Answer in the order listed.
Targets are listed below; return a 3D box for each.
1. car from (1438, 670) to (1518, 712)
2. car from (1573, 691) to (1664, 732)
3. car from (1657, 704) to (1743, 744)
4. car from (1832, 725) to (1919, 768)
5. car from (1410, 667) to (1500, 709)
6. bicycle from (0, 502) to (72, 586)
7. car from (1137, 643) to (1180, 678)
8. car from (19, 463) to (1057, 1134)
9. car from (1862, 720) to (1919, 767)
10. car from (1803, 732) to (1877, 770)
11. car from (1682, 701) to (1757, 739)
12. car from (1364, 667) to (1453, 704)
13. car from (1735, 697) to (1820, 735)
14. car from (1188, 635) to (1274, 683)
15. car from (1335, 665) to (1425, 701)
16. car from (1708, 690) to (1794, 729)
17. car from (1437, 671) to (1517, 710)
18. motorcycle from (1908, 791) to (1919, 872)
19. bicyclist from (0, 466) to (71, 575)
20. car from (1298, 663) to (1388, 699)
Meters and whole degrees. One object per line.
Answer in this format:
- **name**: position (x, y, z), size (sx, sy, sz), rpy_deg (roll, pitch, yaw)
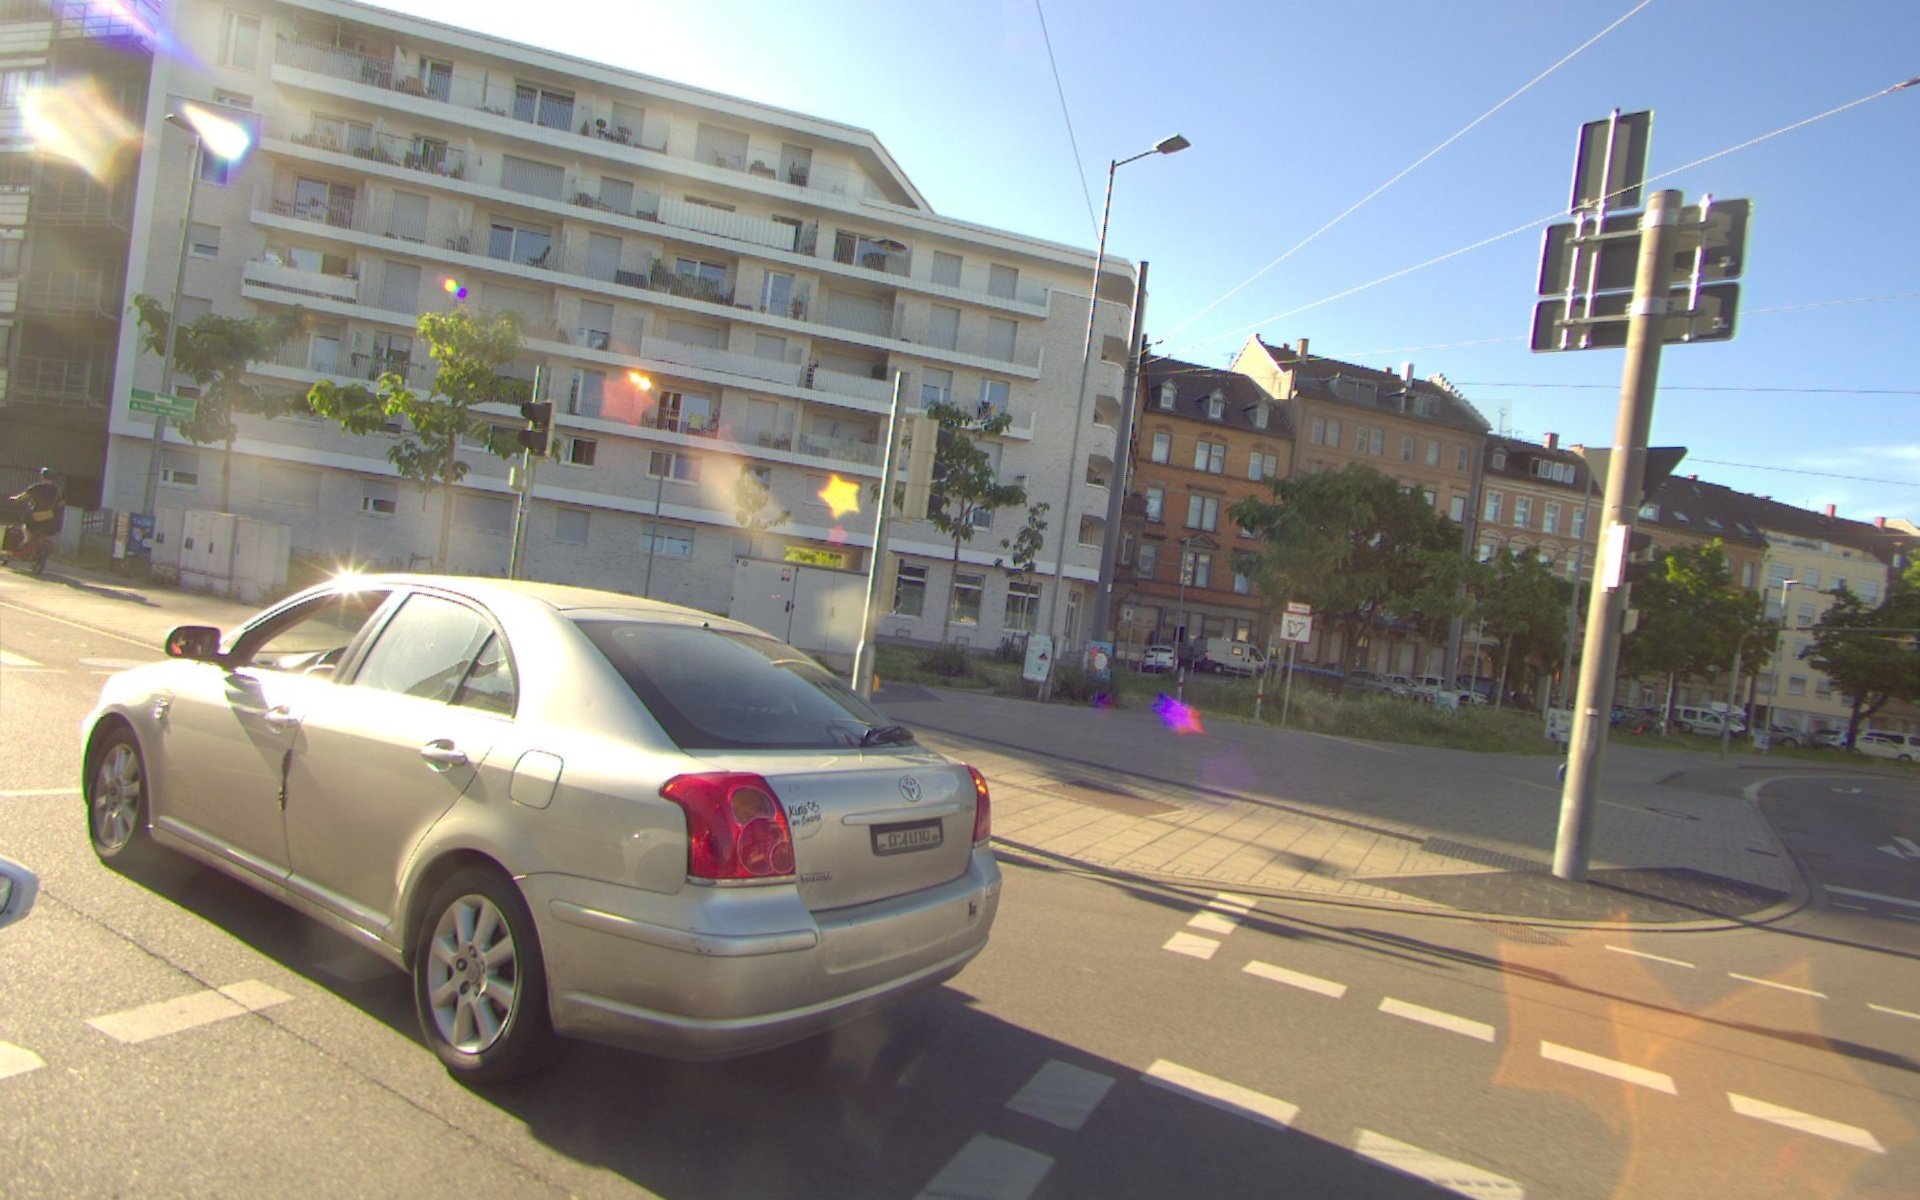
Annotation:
- **car**: position (34.786, 6.102, 67.643), size (4.339, 2.216, 1.996), rpy_deg (6, 0, -12)
- **car**: position (38.521, 6.482, 58.873), size (1.985, 1.798, 3.955), rpy_deg (6, -1, -41)
- **car**: position (44.432, 7.429, 60.449), size (3.943, 1.793, 1.991), rpy_deg (6, 0, 40)
- **car**: position (58.858, 9.351, 64.537), size (1.986, 1.795, 3.950), rpy_deg (7, 4, -42)
- **car**: position (27.826, 4.960, 56.665), size (1.985, 1.793, 3.955), rpy_deg (6, -1, -40)
- **bicycle**: position (-16.352, -1.004, 17.519), size (2.049, 1.277, 0.766), rpy_deg (7, 0, 35)
- **car**: position (10.320, 3.095, 52.242), size (1.962, 1.504, 4.003), rpy_deg (6, -1, 11)
- **car**: position (-2.079, 0.382, 4.357), size (4.552, 1.499, 1.748), rpy_deg (7, -1, 32)
- **car**: position (62.333, 9.568, 66.193), size (1.986, 2.439, 3.949), rpy_deg (6, 5, -42)
- **car**: position (66.618, 11.413, 76.187), size (3.931, 2.216, 1.997), rpy_deg (6, 0, -9)
- **car**: position (55.540, 8.775, 73.606), size (4.120, 2.216, 1.996), rpy_deg (6, 0, -11)
- **car**: position (24.796, 4.730, 55.746), size (1.985, 1.504, 3.955), rpy_deg (7, -1, -40)
- **car**: position (51.409, 7.266, 63.305), size (3.943, 1.793, 1.991), rpy_deg (6, 0, 40)
- **car**: position (16.754, 3.658, 62.317), size (4.528, 2.338, 1.996), rpy_deg (8, 0, -12)
- **car**: position (22.750, 4.498, 54.607), size (1.985, 1.370, 3.955), rpy_deg (7, -1, -40)
- **car**: position (48.354, 6.654, 61.543), size (3.943, 1.793, 1.991), rpy_deg (6, 0, 40)
- **car**: position (31.117, 5.456, 60.540), size (3.937, 1.793, 1.994), rpy_deg (6, 0, 35)
- **motorcycle**: position (12.547, 2.994, 11.949), size (1.151, 1.012, 2.459), rpy_deg (7, -1, 28)
- **bicyclist**: position (-16.090, -1.369, 17.366), size (0.915, 1.727, 0.766), rpy_deg (7, 0, 34)
- **car**: position (20.400, 4.324, 53.736), size (1.985, 1.370, 3.955), rpy_deg (7, -1, -40)
